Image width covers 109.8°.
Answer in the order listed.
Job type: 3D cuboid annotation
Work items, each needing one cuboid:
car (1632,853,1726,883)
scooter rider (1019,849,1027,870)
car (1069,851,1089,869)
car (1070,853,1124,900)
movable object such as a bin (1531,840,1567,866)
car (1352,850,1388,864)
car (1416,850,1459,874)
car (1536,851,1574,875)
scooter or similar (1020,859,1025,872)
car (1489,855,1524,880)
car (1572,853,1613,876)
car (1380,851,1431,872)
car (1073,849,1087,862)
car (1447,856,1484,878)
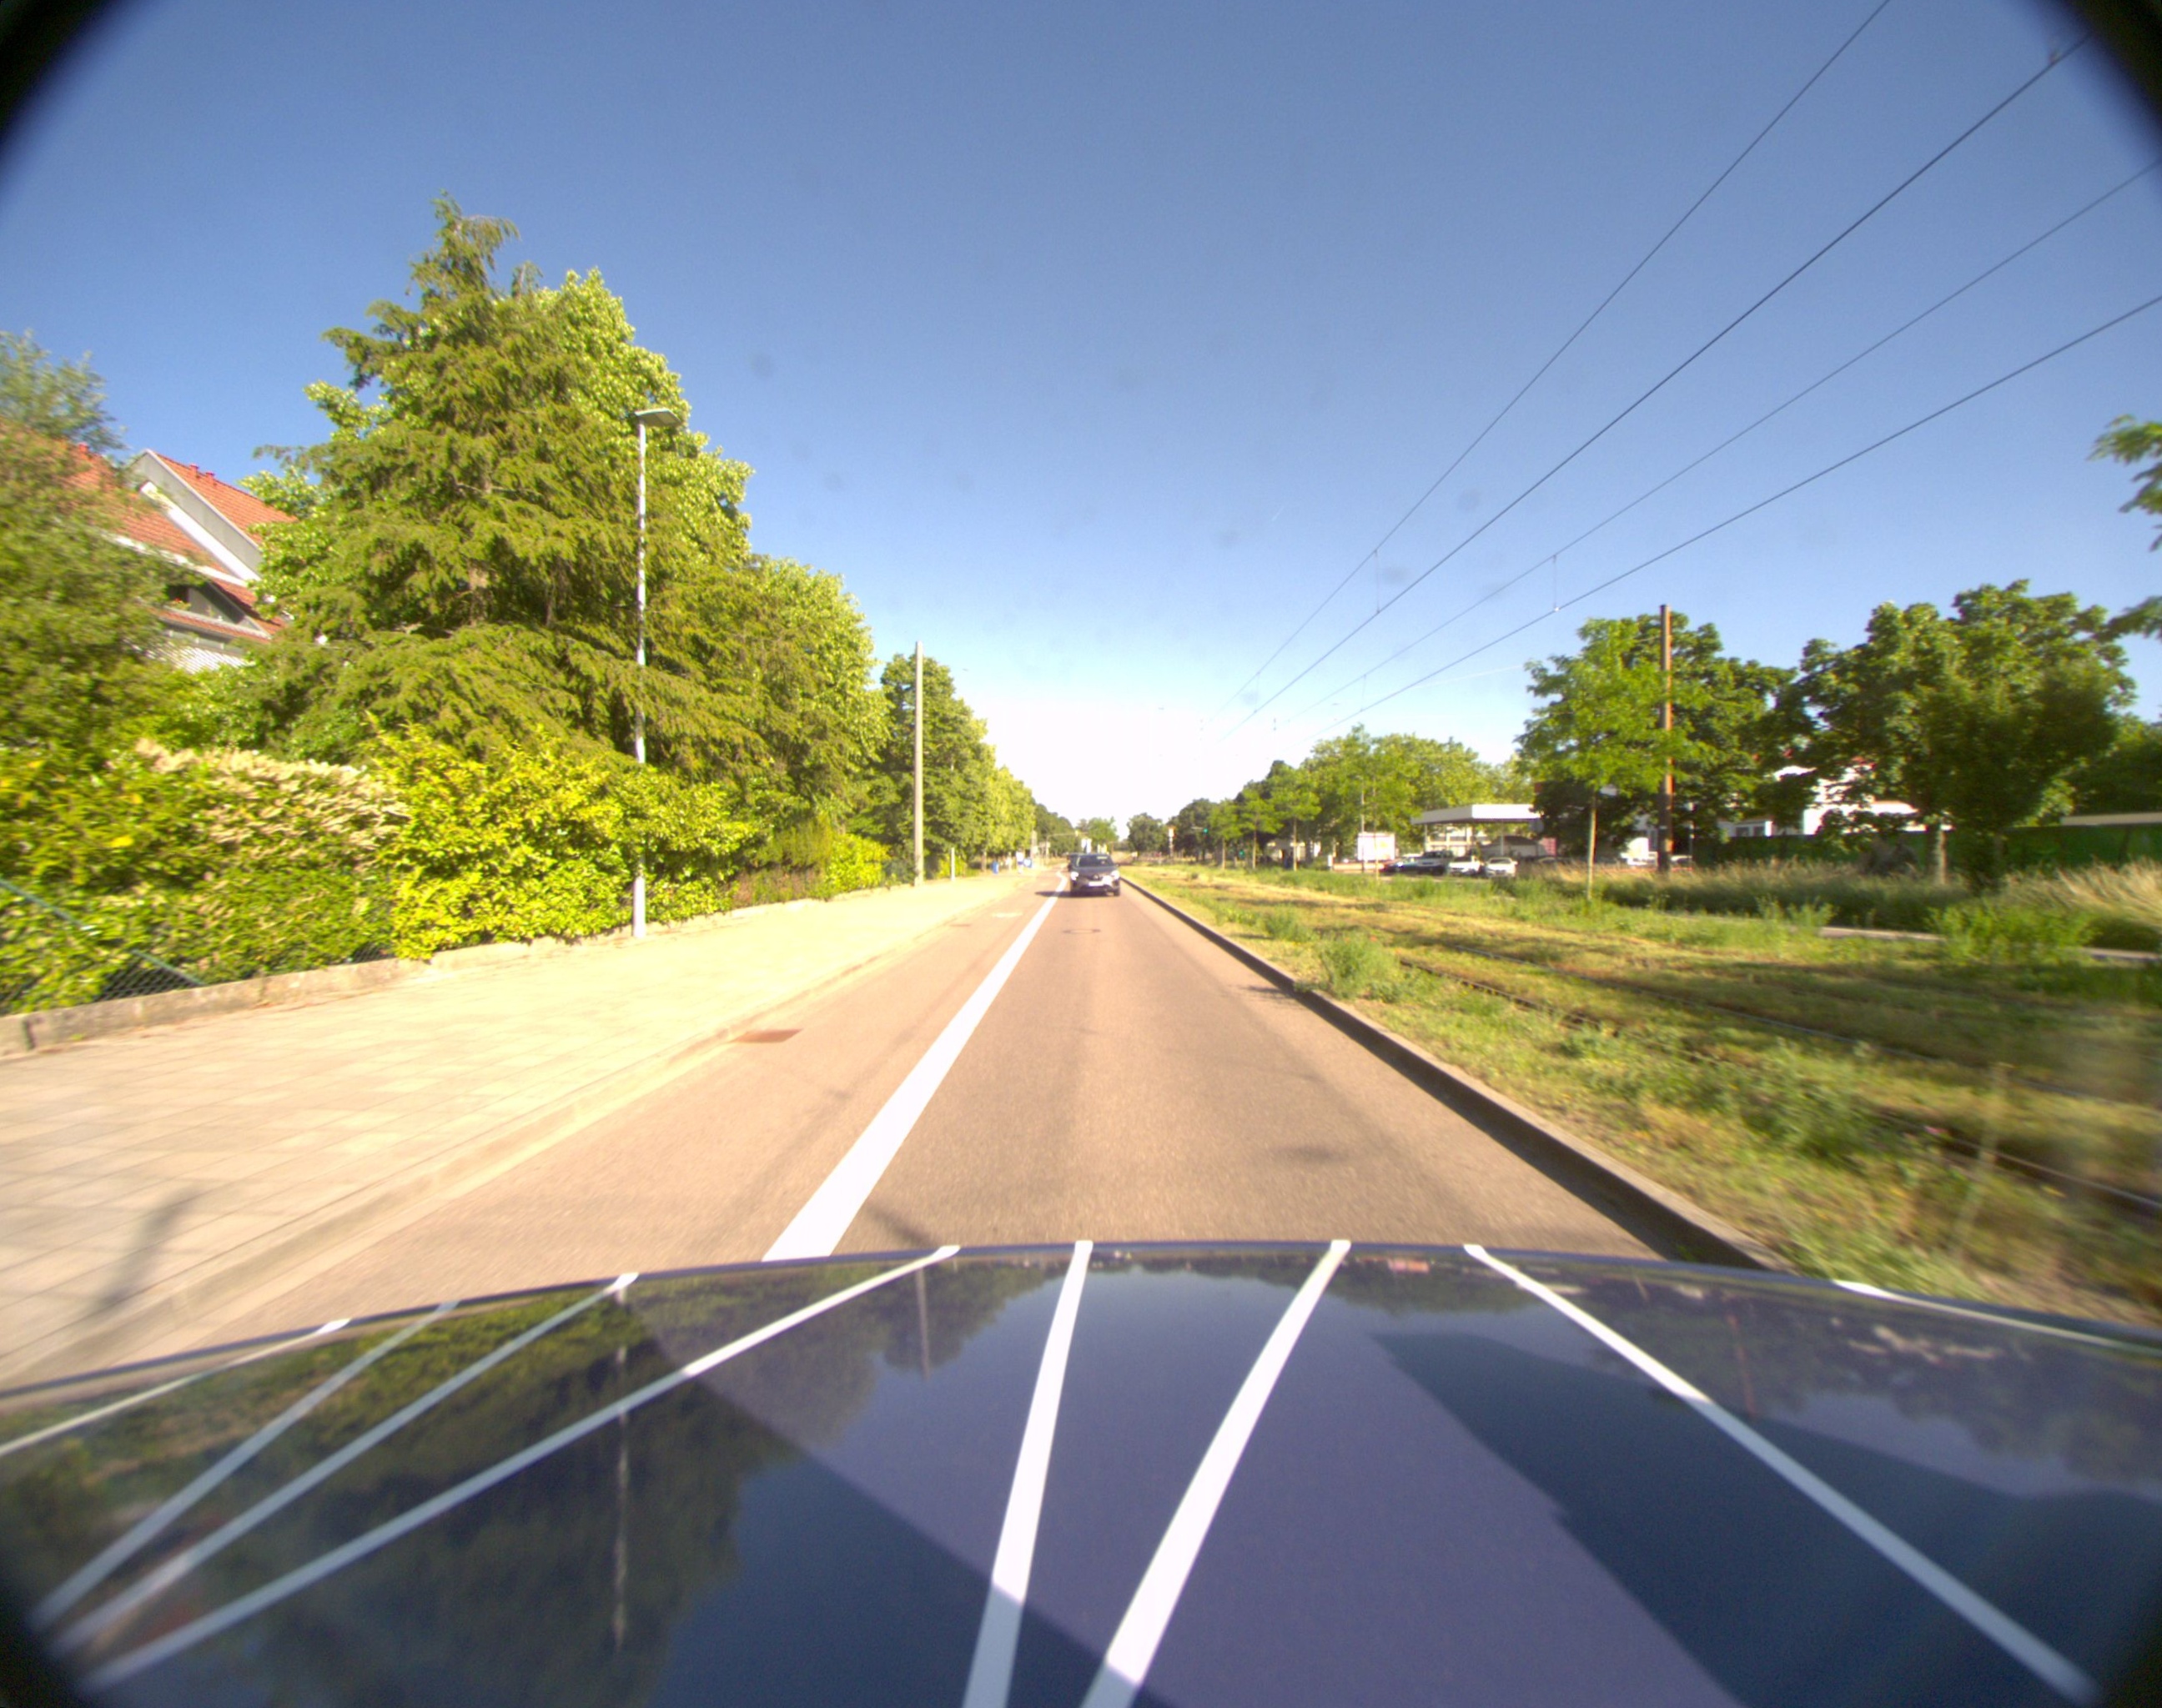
[{"bbox_3d":[32.767,0.756,41.697,3.827,1.500,1.705,-1,0,1],"label":"car"},{"bbox_3d":[-5.008,0.450,65.450,0.552,1.756,0.599,-1,0,-1],"label":"scooter rider"},{"bbox_3d":[-0.177,0.621,81.283,1.998,1.824,4.000,-2,1,1],"label":"car"},{"bbox_3d":[0.519,0.791,28.635,1.867,1.614,3.999,-1,0,-1],"label":"car"},{"bbox_3d":[24.716,-0.067,40.130,1.227,1.361,1.121,-1,1,-3],"label":"movable object such as a bin"},{"bbox_3d":[39.744,0.381,104.519,4.051,1.816,1.999,-2,1,-2],"label":"car"},{"bbox_3d":[28.475,0.639,60.677,1.893,1.899,4.821,-1,-1,40],"label":"car"},{"bbox_3d":[32.768,0.588,52.498,1.845,1.499,3.999,1,2,38],"label":"car"},{"bbox_3d":[-5.037,1.001,65.229,0.349,1.130,1.208,0,0,-1],"label":"scooter or similar"},{"bbox_3d":[29.406,0.903,52.603,2.022,1.499,4.898,0,2,28],"label":"car"},{"bbox_3d":[35.148,0.697,52.165,2.021,1.541,4.310,1,0,38],"label":"car"},{"bbox_3d":[31.489,0.723,73.770,3.996,1.846,2.000,-3,0,3],"label":"car"},{"bbox_3d":[-0.154,0.257,112.730,1.998,1.824,4.000,-2,1,1],"label":"car"},{"bbox_3d":[28.548,0.933,56.284,1.712,1.416,4.466,-1,1,36],"label":"car"}]
